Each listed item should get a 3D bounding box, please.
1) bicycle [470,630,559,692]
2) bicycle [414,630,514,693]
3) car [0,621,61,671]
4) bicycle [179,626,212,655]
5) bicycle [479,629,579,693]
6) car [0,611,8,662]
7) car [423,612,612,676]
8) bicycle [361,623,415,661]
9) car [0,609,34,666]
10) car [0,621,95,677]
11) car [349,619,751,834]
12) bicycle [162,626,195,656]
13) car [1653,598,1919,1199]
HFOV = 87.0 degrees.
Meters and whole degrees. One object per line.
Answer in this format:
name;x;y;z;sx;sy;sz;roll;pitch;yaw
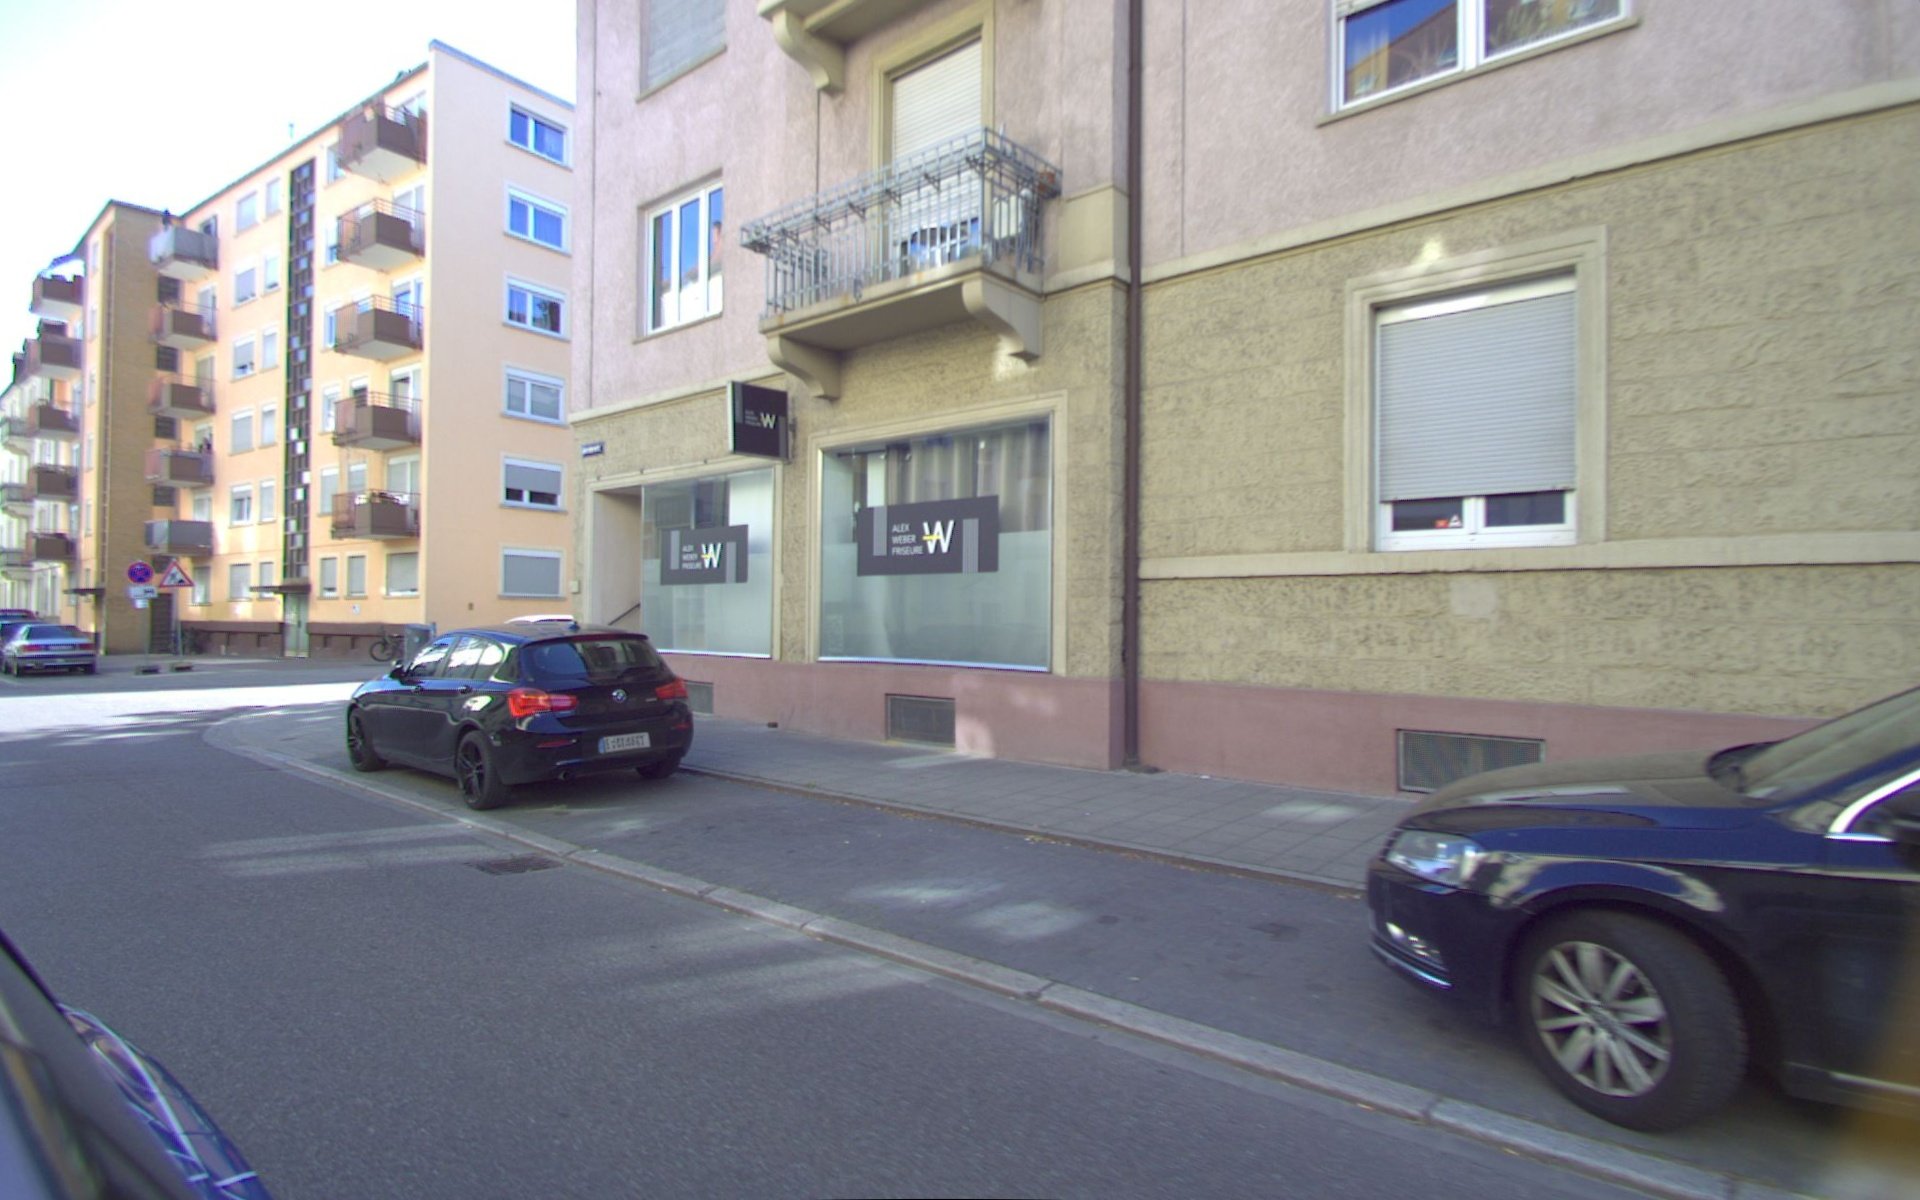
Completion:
bicycle;-8.567;1.150;19.539;0.433;1.156;1.648;-1;-2;28
bicycle;-9.531;1.154;19.494;0.592;1.156;1.644;-1;-2;35
car;-28.884;1.383;30.963;3.284;1.433;1.657;-1;-2;41
bicycle;-29.955;1.581;39.640;1.801;1.116;0.488;-1;-2;35
bicycle;-8.133;1.133;19.175;0.434;1.156;1.842;-1;-2;30
car;-37.762;1.389;38.550;4.109;1.892;1.799;-1;-2;41
car;-11.729;1.147;27.137;1.776;1.572;4.404;-1;-2;33
bicycle;-17.178;1.253;30.383;1.801;1.116;0.680;-1;-2;35
car;-33.284;1.283;34.688;4.109;1.892;1.799;-1;-2;41
car;-25.143;1.297;27.753;3.499;1.433;1.656;-1;-2;41
car;-3.724;0.918;8.882;3.863;1.397;1.697;-1;1;42
bicycle;-30.277;1.577;39.194;1.801;1.116;0.488;-1;-2;35
car;4.077;0.763;2.184;4.107;1.533;1.697;-1;-3;40
